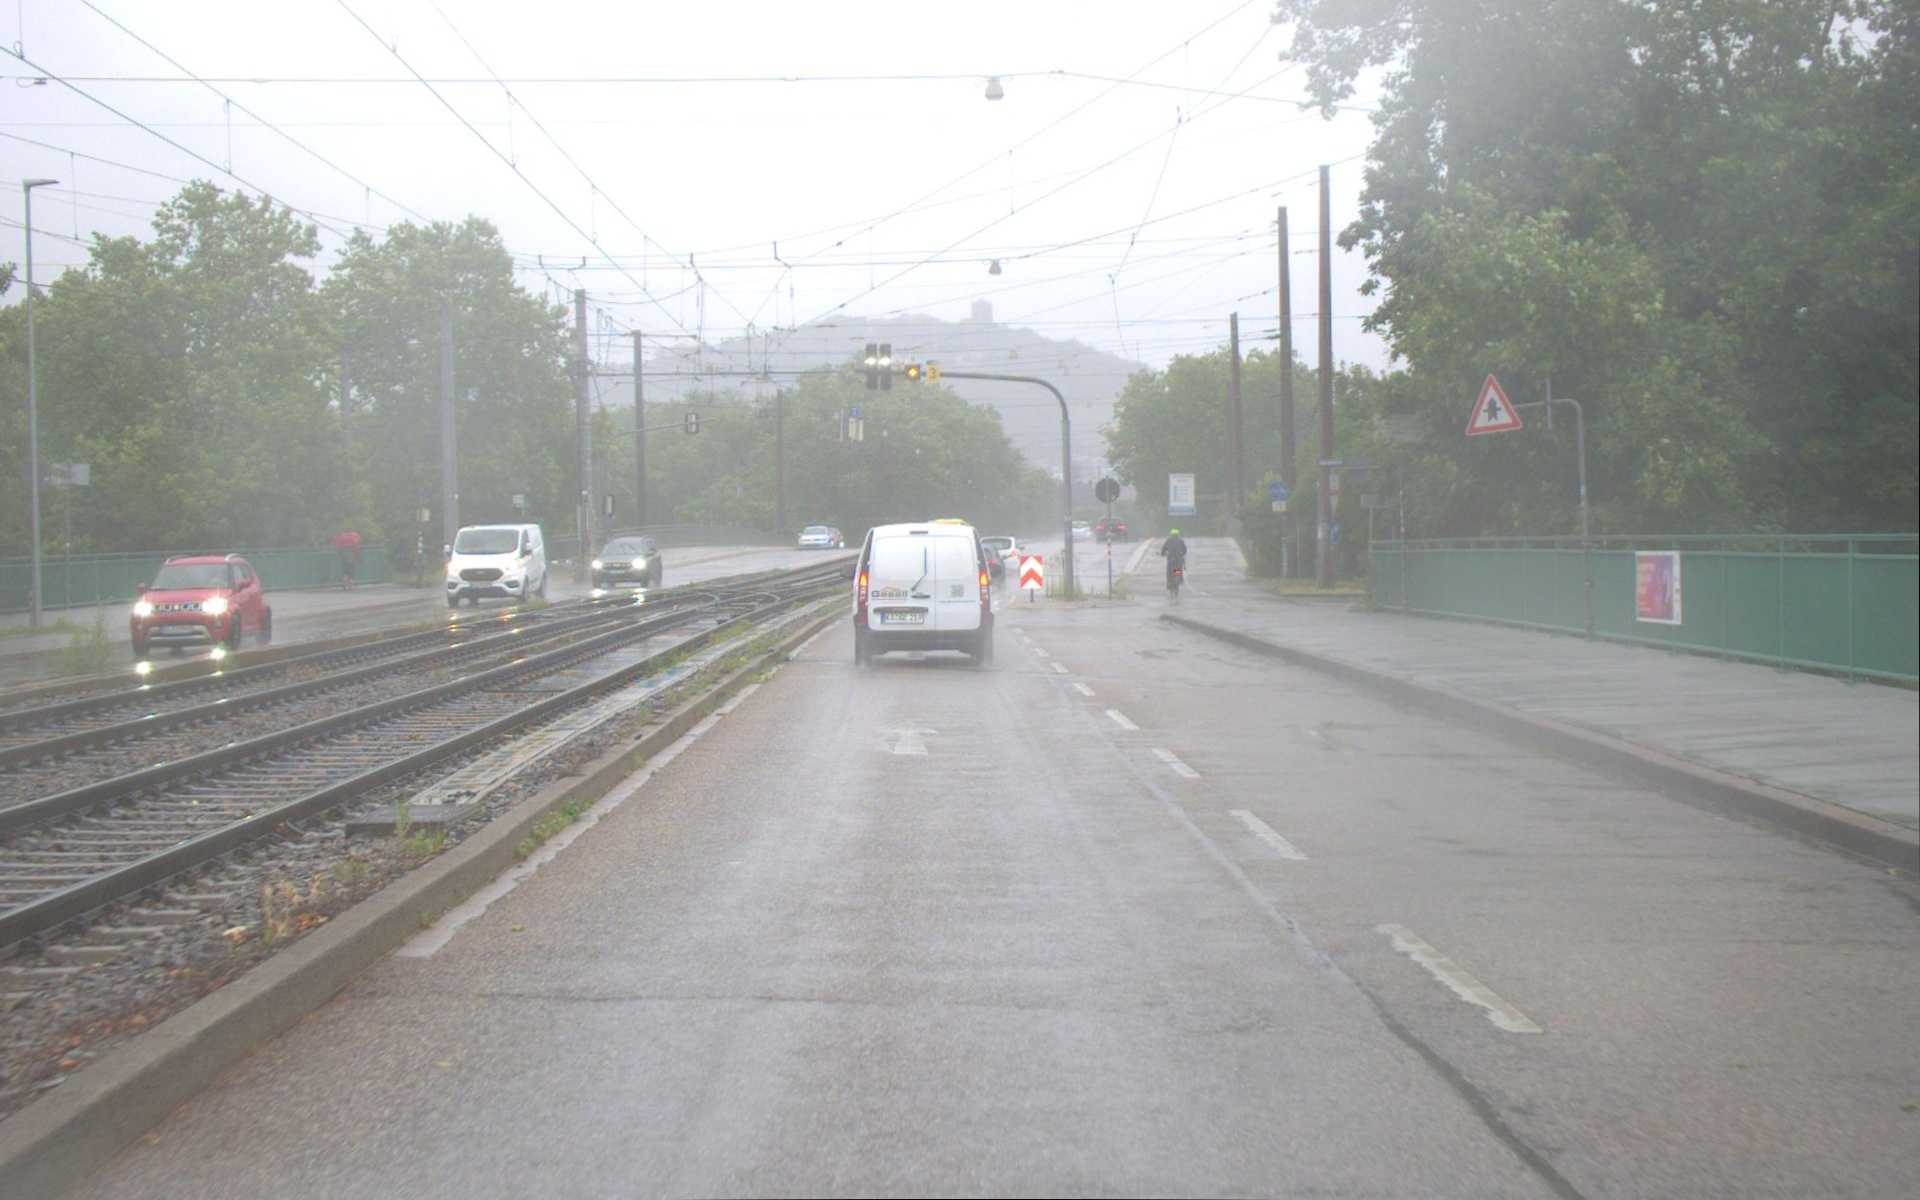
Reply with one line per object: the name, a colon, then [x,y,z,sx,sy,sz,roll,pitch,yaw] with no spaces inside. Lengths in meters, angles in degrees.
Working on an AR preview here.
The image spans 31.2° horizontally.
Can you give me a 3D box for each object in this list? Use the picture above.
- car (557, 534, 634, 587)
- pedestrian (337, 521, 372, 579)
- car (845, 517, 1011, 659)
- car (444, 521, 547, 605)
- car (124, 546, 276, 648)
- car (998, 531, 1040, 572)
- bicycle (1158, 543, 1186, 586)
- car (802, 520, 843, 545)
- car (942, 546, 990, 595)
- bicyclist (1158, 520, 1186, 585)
car: [-11.756,-1.299,111.155,1.993,1.643,5.372,1,1,-1]
pedestrian: [-19.015,-1.567,108.002,0.864,1.812,1.043,1,0,2]
car: [-0.459,-0.170,44.254,1.993,1.720,4.000,1,1,-2]
car: [-11.824,-0.970,87.714,1.993,2.037,5.028,1,1,-1]
car: [-12.457,-0.064,56.517,1.724,1.595,3.651,1,1,-1]
car: [2.164,-1.777,126.638,1.451,1.494,2.982,1,1,0]
bicycle: [5.748,-0.977,93.087,0.723,1.125,2.167,1,1,4]
car: [-8.008,-3.923,199.984,1.934,1.227,4.100,-2,3,4]
car: [0.184,-0.912,106.841,1.451,1.494,2.982,1,1,0]
bicyclist: [5.756,-1.286,93.201,0.725,1.758,0.949,1,0,4]
